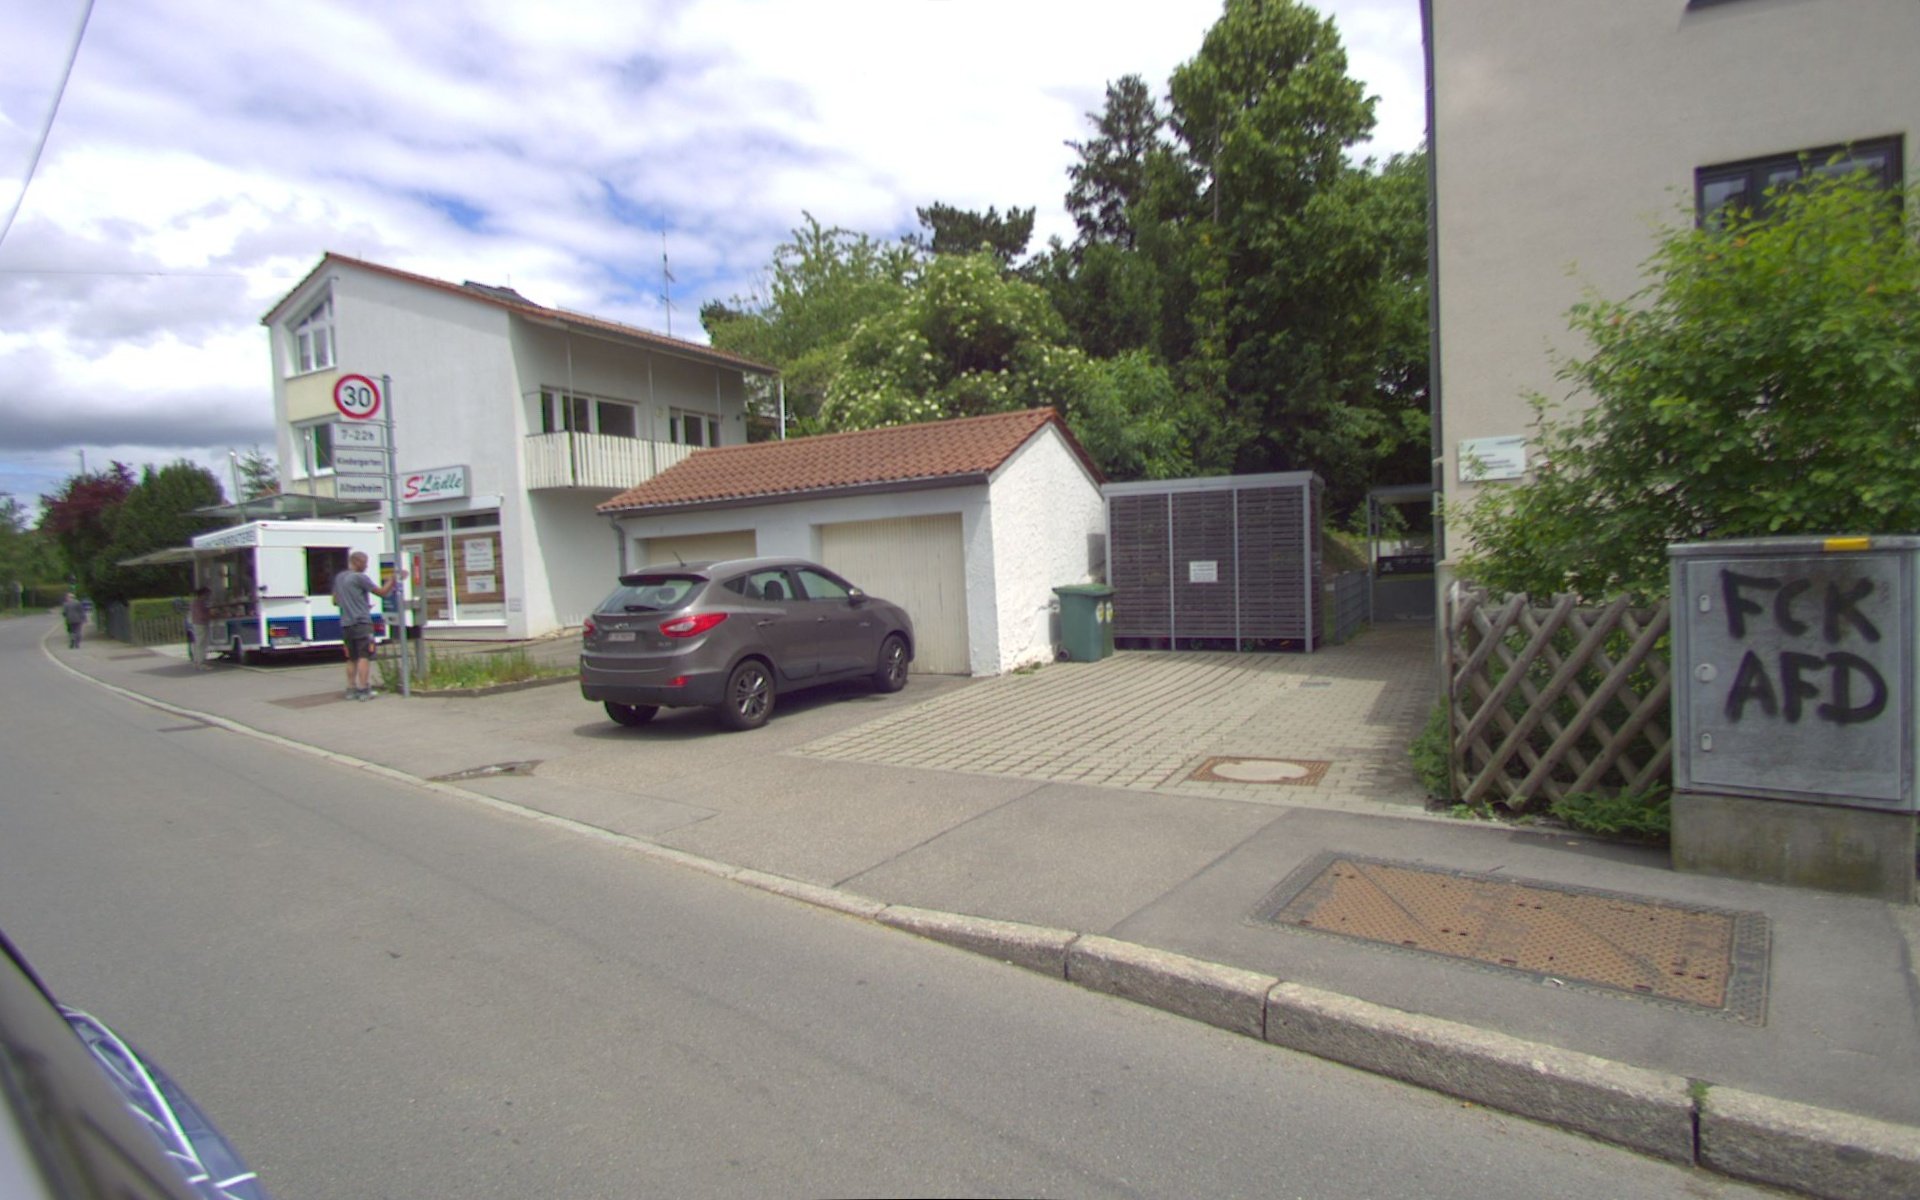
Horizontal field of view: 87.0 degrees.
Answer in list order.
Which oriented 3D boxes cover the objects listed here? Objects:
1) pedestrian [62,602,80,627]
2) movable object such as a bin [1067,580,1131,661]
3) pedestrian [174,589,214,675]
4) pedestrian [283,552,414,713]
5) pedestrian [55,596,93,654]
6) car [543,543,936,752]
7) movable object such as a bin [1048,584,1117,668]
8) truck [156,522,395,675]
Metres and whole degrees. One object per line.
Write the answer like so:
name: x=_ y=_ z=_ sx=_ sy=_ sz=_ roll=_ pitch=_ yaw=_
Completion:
pedestrian: x=-64.277 y=1.037 z=73.161 sx=0.809 sy=1.757 sz=0.605 roll=-6 pitch=4 yaw=-39
movable object such as a bin: x=2.037 y=0.294 z=14.747 sx=0.689 sy=1.091 sz=0.683 roll=-2 pitch=4 yaw=28
pedestrian: x=-15.598 y=0.638 z=20.614 sx=0.597 sy=1.707 sz=0.397 roll=-1 pitch=4 yaw=40
pedestrian: x=-8.036 y=0.393 z=13.325 sx=0.736 sy=1.959 sz=1.200 roll=0 pitch=5 yaw=45
pedestrian: x=-28.278 y=0.783 z=32.297 sx=1.110 sy=1.698 sz=0.715 roll=4 pitch=7 yaw=45
car: x=-2.177 y=0.340 z=11.281 sx=1.791 sy=1.707 sz=4.283 roll=-2 pitch=4 yaw=30
movable object such as a bin: x=1.714 y=0.353 z=14.115 sx=0.701 sy=1.091 sz=0.683 roll=-2 pitch=4 yaw=28
truck: x=-14.984 y=-0.069 z=21.953 sx=6.702 sy=2.861 sz=2.448 roll=-1 pitch=3 yaw=40
